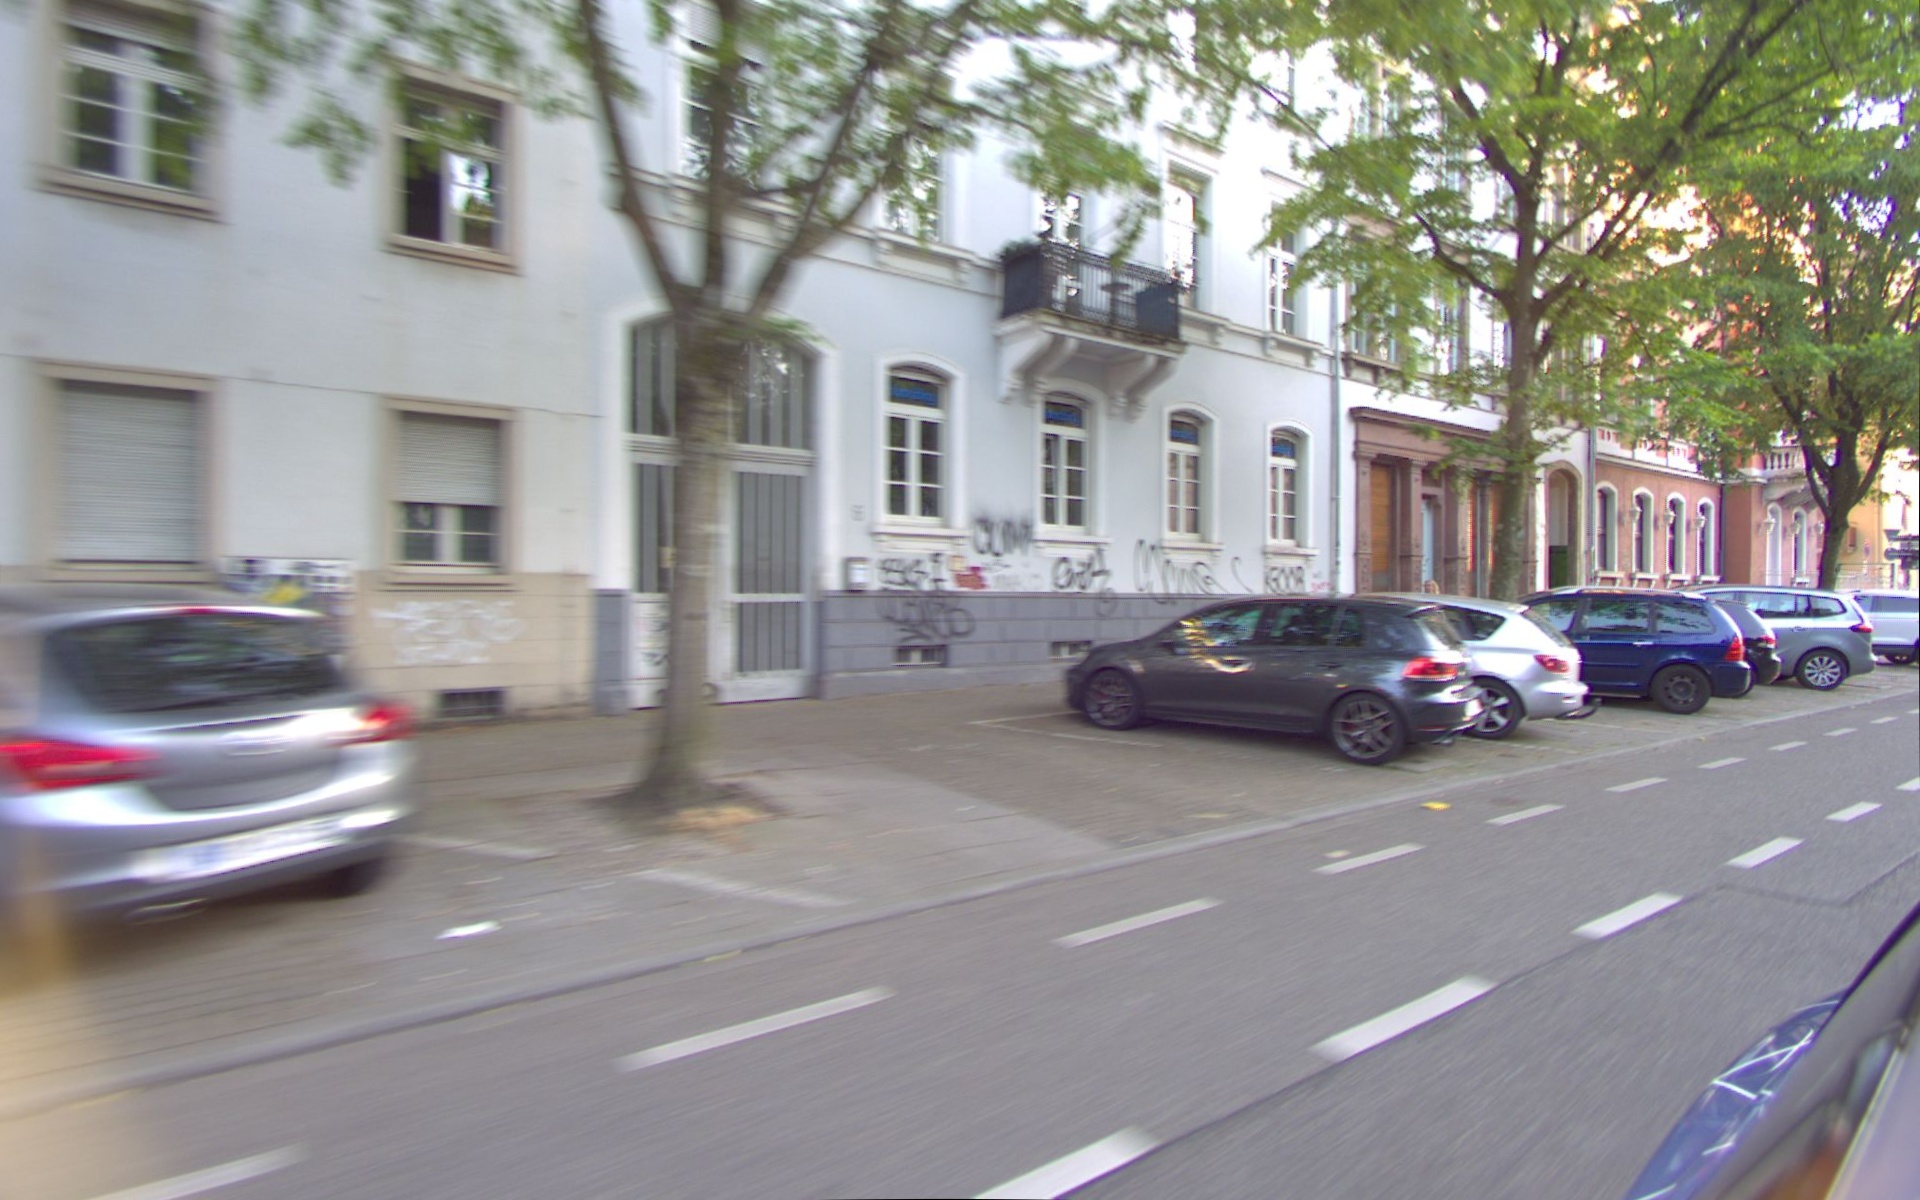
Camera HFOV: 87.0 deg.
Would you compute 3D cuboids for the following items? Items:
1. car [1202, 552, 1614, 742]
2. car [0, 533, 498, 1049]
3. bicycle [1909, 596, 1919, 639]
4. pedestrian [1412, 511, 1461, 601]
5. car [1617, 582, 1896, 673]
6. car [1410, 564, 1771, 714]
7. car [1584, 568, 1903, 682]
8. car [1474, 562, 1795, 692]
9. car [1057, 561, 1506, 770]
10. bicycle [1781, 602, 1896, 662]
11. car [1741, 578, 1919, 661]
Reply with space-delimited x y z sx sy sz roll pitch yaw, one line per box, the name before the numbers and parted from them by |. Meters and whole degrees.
car | 5.037 0.384 11.628 3.936 1.623 1.815 6 4 38
car | -4.367 0.503 4.819 3.911 1.623 1.826 3 3 24
bicycle | 29.150 0.519 29.632 1.894 1.282 0.597 1 0 21
pedestrian | 8.784 -0.789 18.648 0.613 1.630 0.588 0 -1 -35
car | 15.412 0.470 19.875 3.914 1.495 1.815 3 1 25
car | 8.508 0.425 14.132 3.912 1.623 1.827 5 3 23
car | 13.357 0.342 17.591 3.909 1.689 1.888 3 2 22
car | 10.478 0.333 16.118 3.915 1.623 1.732 5 3 25
car | 3.139 0.484 10.282 3.938 1.623 1.814 3 2 40
bicycle | 17.997 0.645 20.774 1.657 1.088 0.458 4 2 32
car | 19.825 0.412 22.184 3.913 1.647 1.660 3 1 25
